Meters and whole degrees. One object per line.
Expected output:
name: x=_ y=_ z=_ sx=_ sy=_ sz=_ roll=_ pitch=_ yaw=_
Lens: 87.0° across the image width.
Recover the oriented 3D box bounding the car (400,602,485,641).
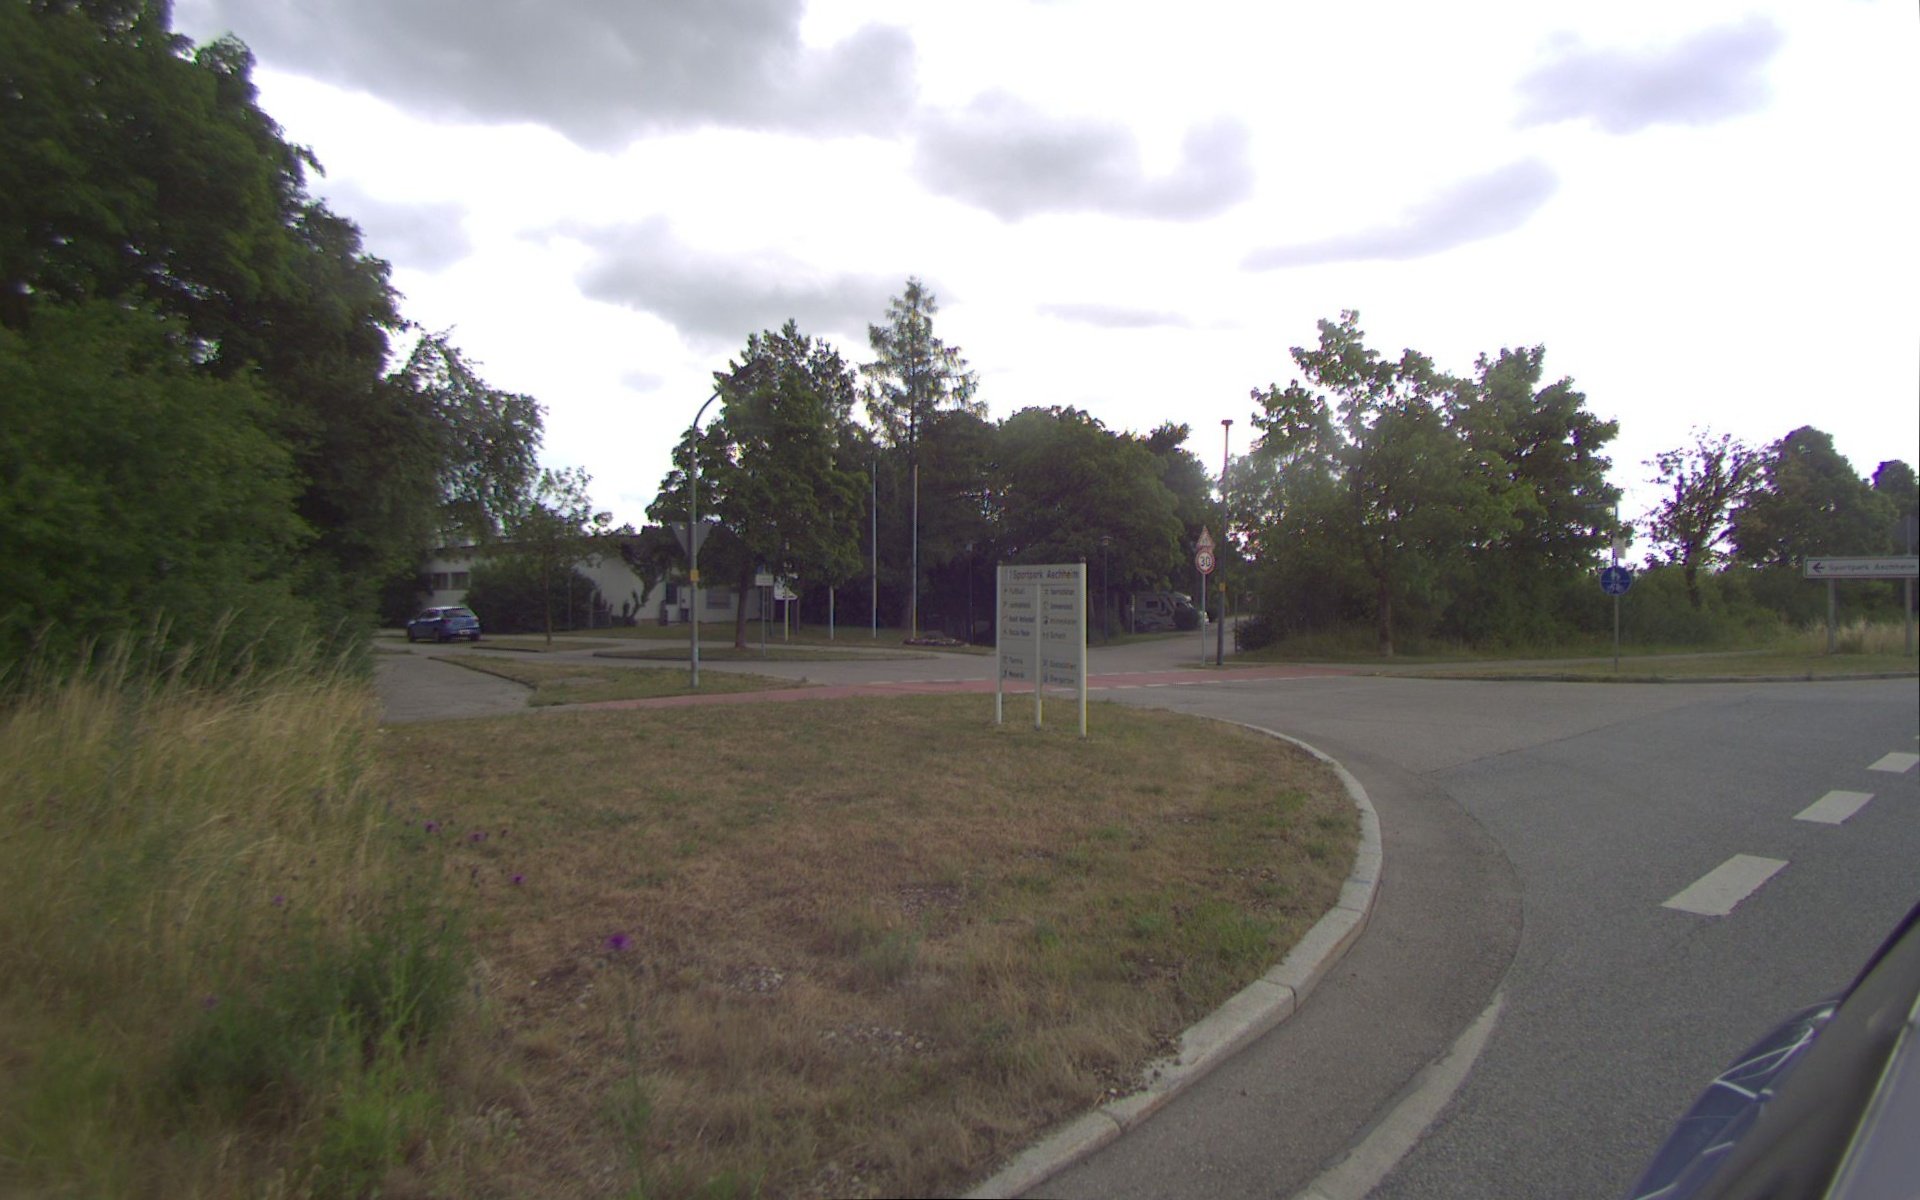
car: x=-21.112 y=0.845 z=41.226 sx=3.689 sy=1.482 sz=1.804 roll=0 pitch=0 yaw=40

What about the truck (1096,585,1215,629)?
truck: x=14.588 y=0.455 z=75.520 sx=8.279 sy=3.149 sz=3.049 roll=0 pitch=1 yaw=24
